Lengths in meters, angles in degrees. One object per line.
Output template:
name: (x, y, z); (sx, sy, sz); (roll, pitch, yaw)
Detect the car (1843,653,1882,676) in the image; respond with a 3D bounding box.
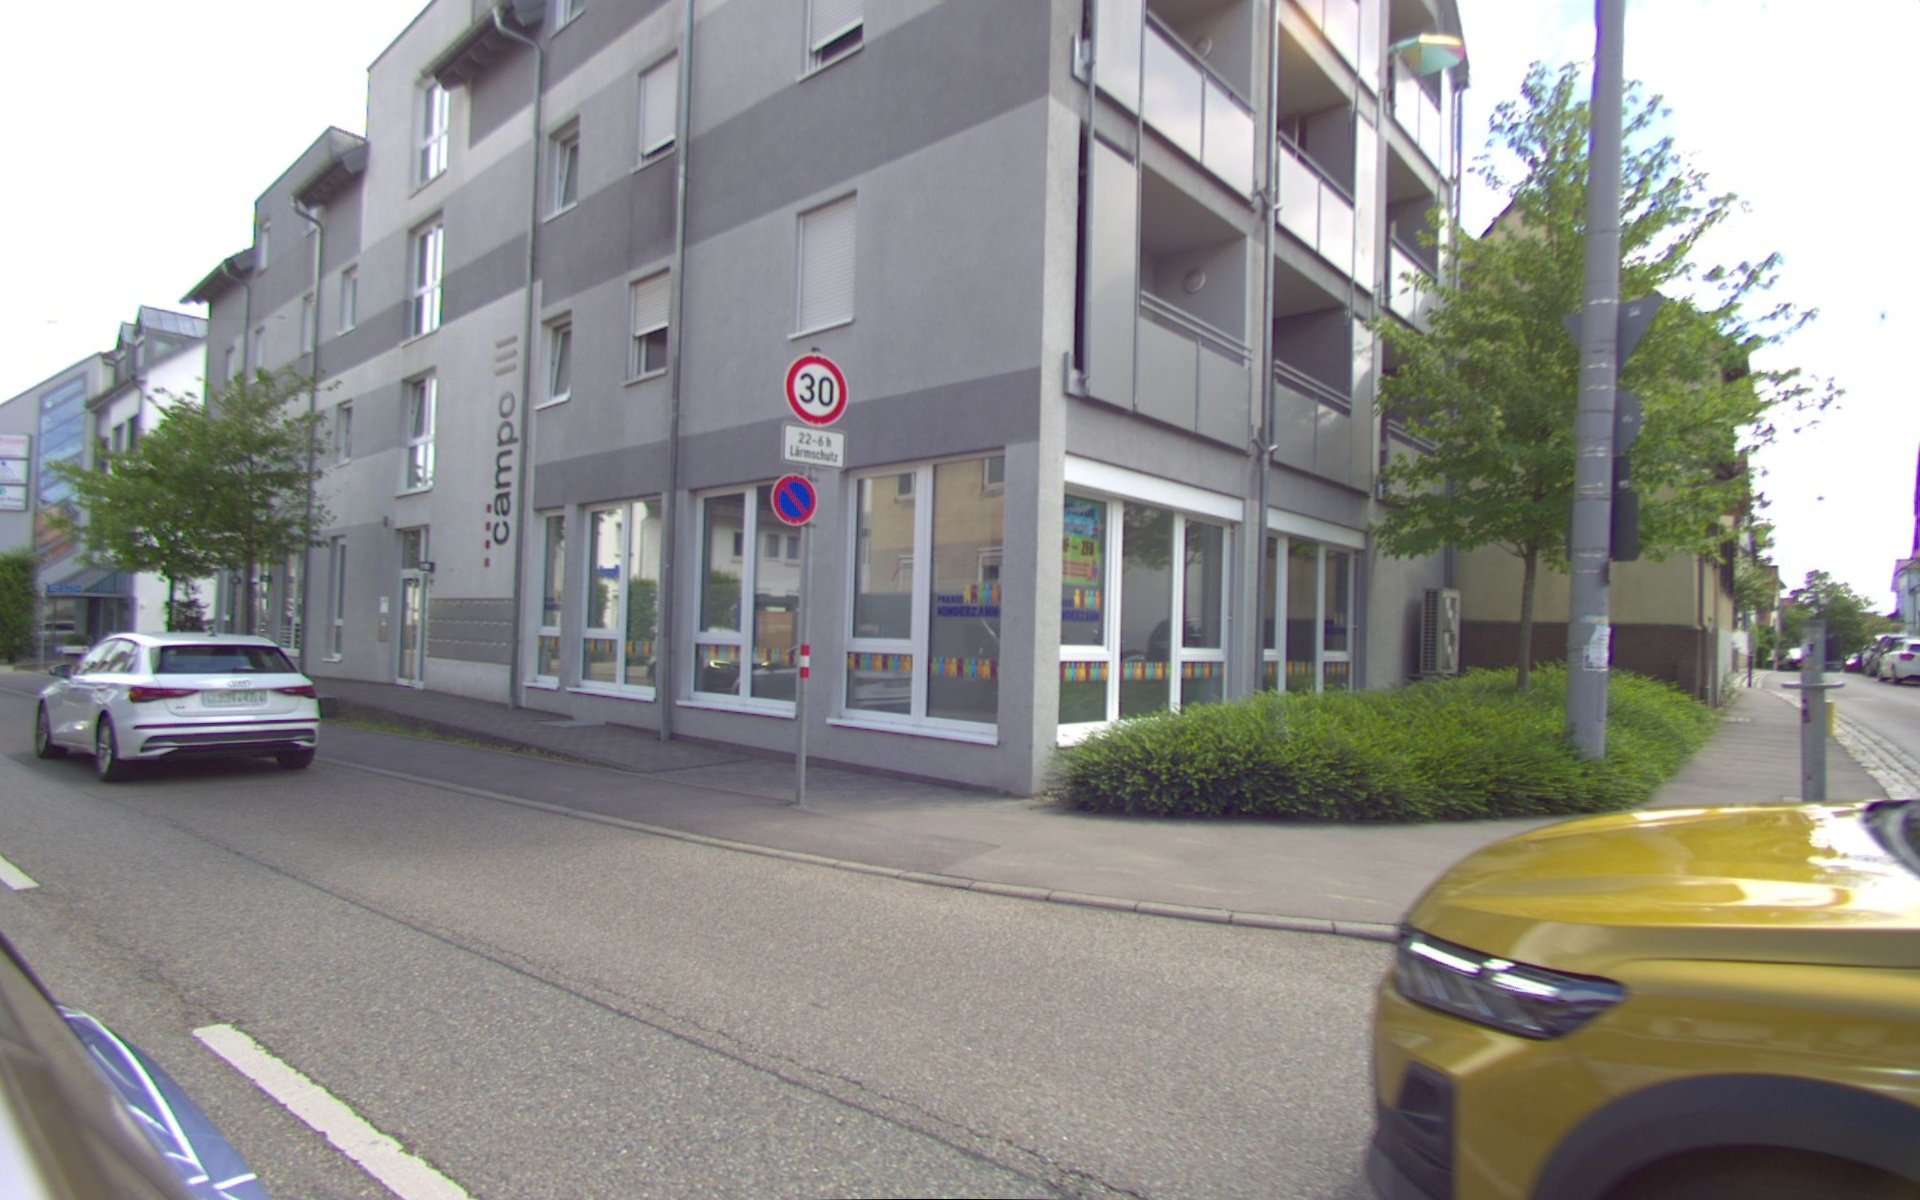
car: (58.921, 4.179, 66.098); (1.836, 1.379, 4.102); (-1, -2, 41)

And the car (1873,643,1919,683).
car: (34.919, 2.292, 37.266); (1.836, 1.379, 4.102); (-1, -2, 41)

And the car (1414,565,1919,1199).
car: (2.897, 0.727, 1.226); (3.994, 1.550, 1.711); (-2, -3, 38)

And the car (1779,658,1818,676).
car: (54.010, 4.299, 65.233); (1.892, 1.073, 4.104); (-1, -2, 39)

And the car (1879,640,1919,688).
car: (29.910, 1.947, 31.181); (1.832, 1.379, 4.109); (-1, -2, 35)

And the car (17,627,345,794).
car: (-8.458, 1.029, 10.872); (4.110, 1.435, 1.856); (-1, -2, 39)

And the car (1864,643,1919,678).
car: (40.428, 2.592, 43.813); (1.836, 1.379, 4.102); (-1, -2, 41)
